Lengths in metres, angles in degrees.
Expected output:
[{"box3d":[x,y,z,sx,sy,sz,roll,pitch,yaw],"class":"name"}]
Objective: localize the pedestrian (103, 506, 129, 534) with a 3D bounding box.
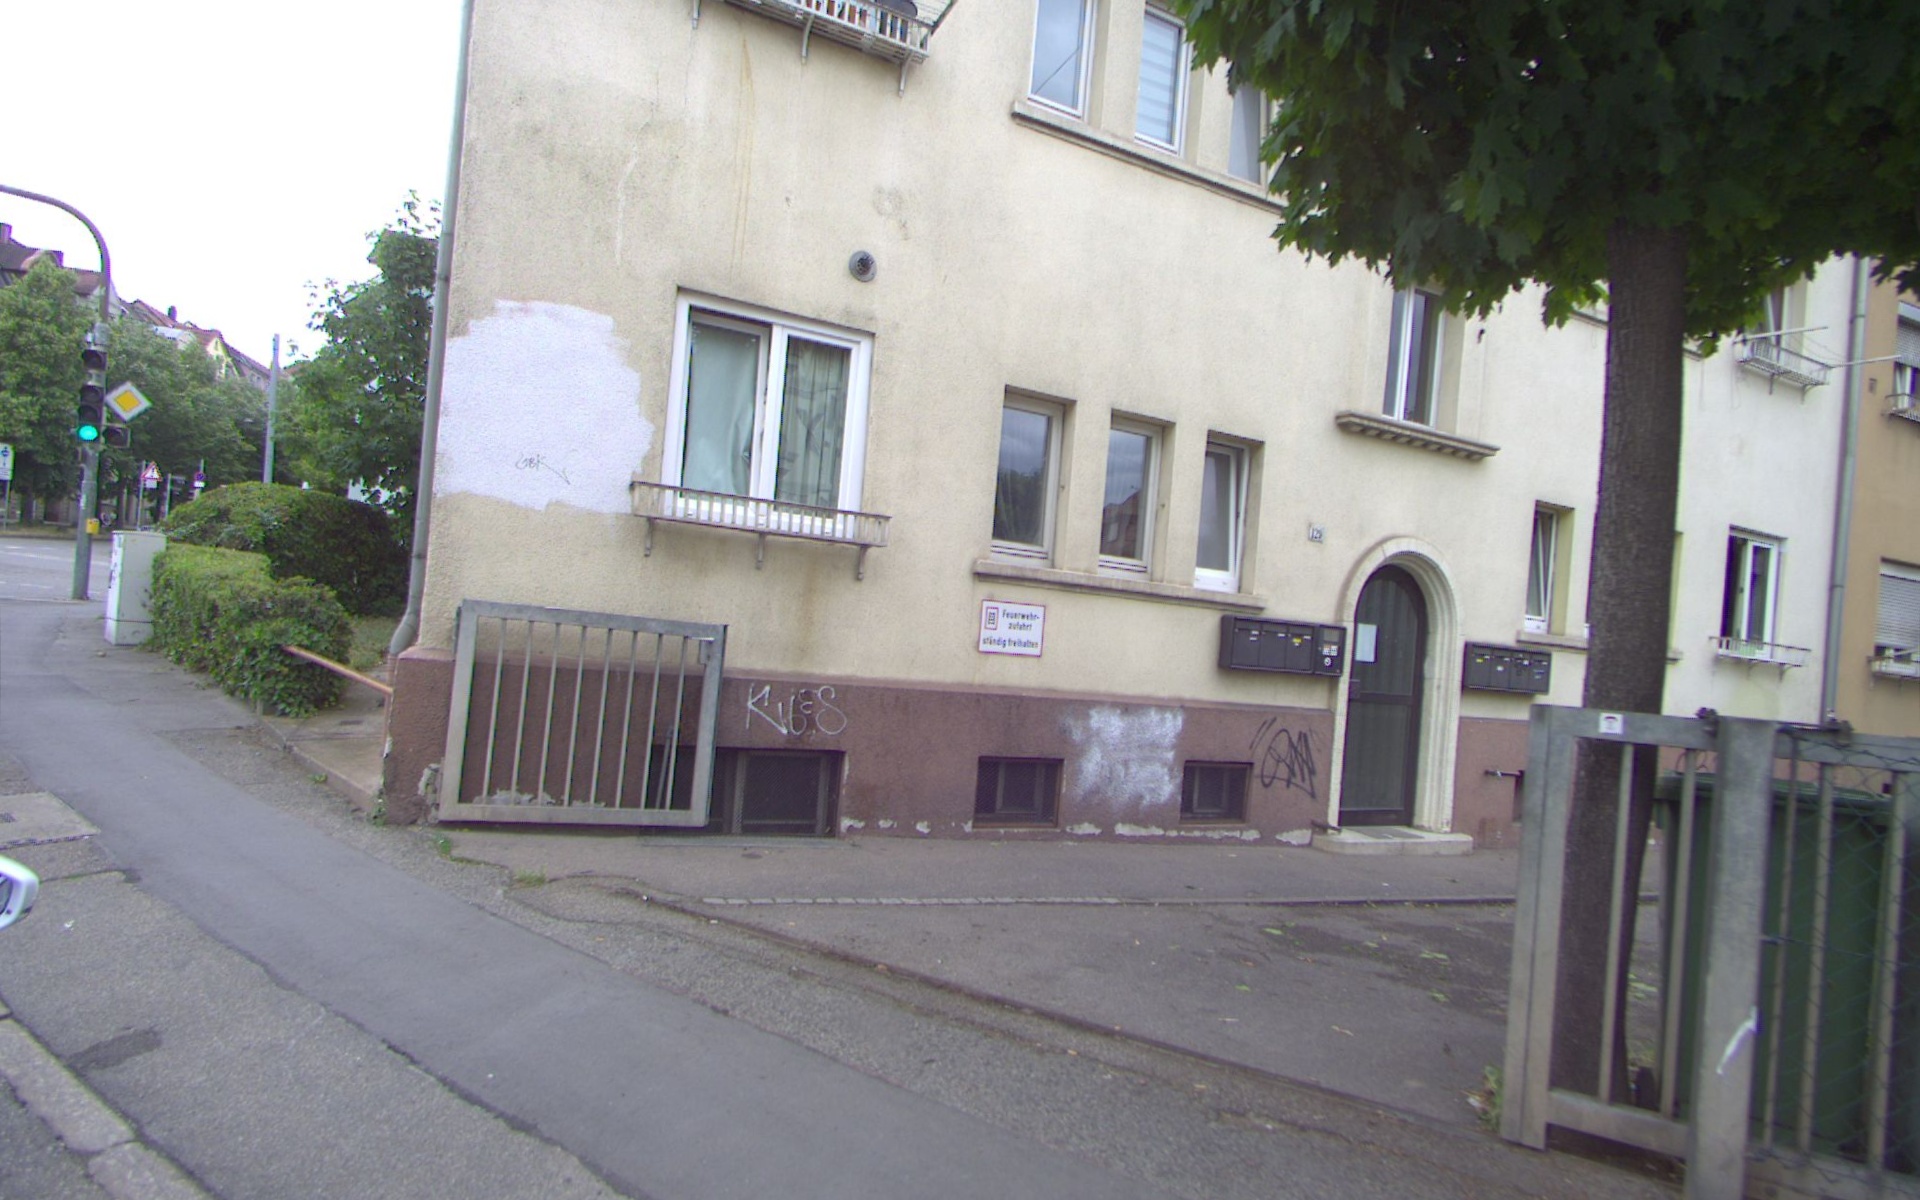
[{"box3d":[-66.865,-6.325,79.702,1.179,2.038,0.985,7,0,-19],"class":"pedestrian"}]
